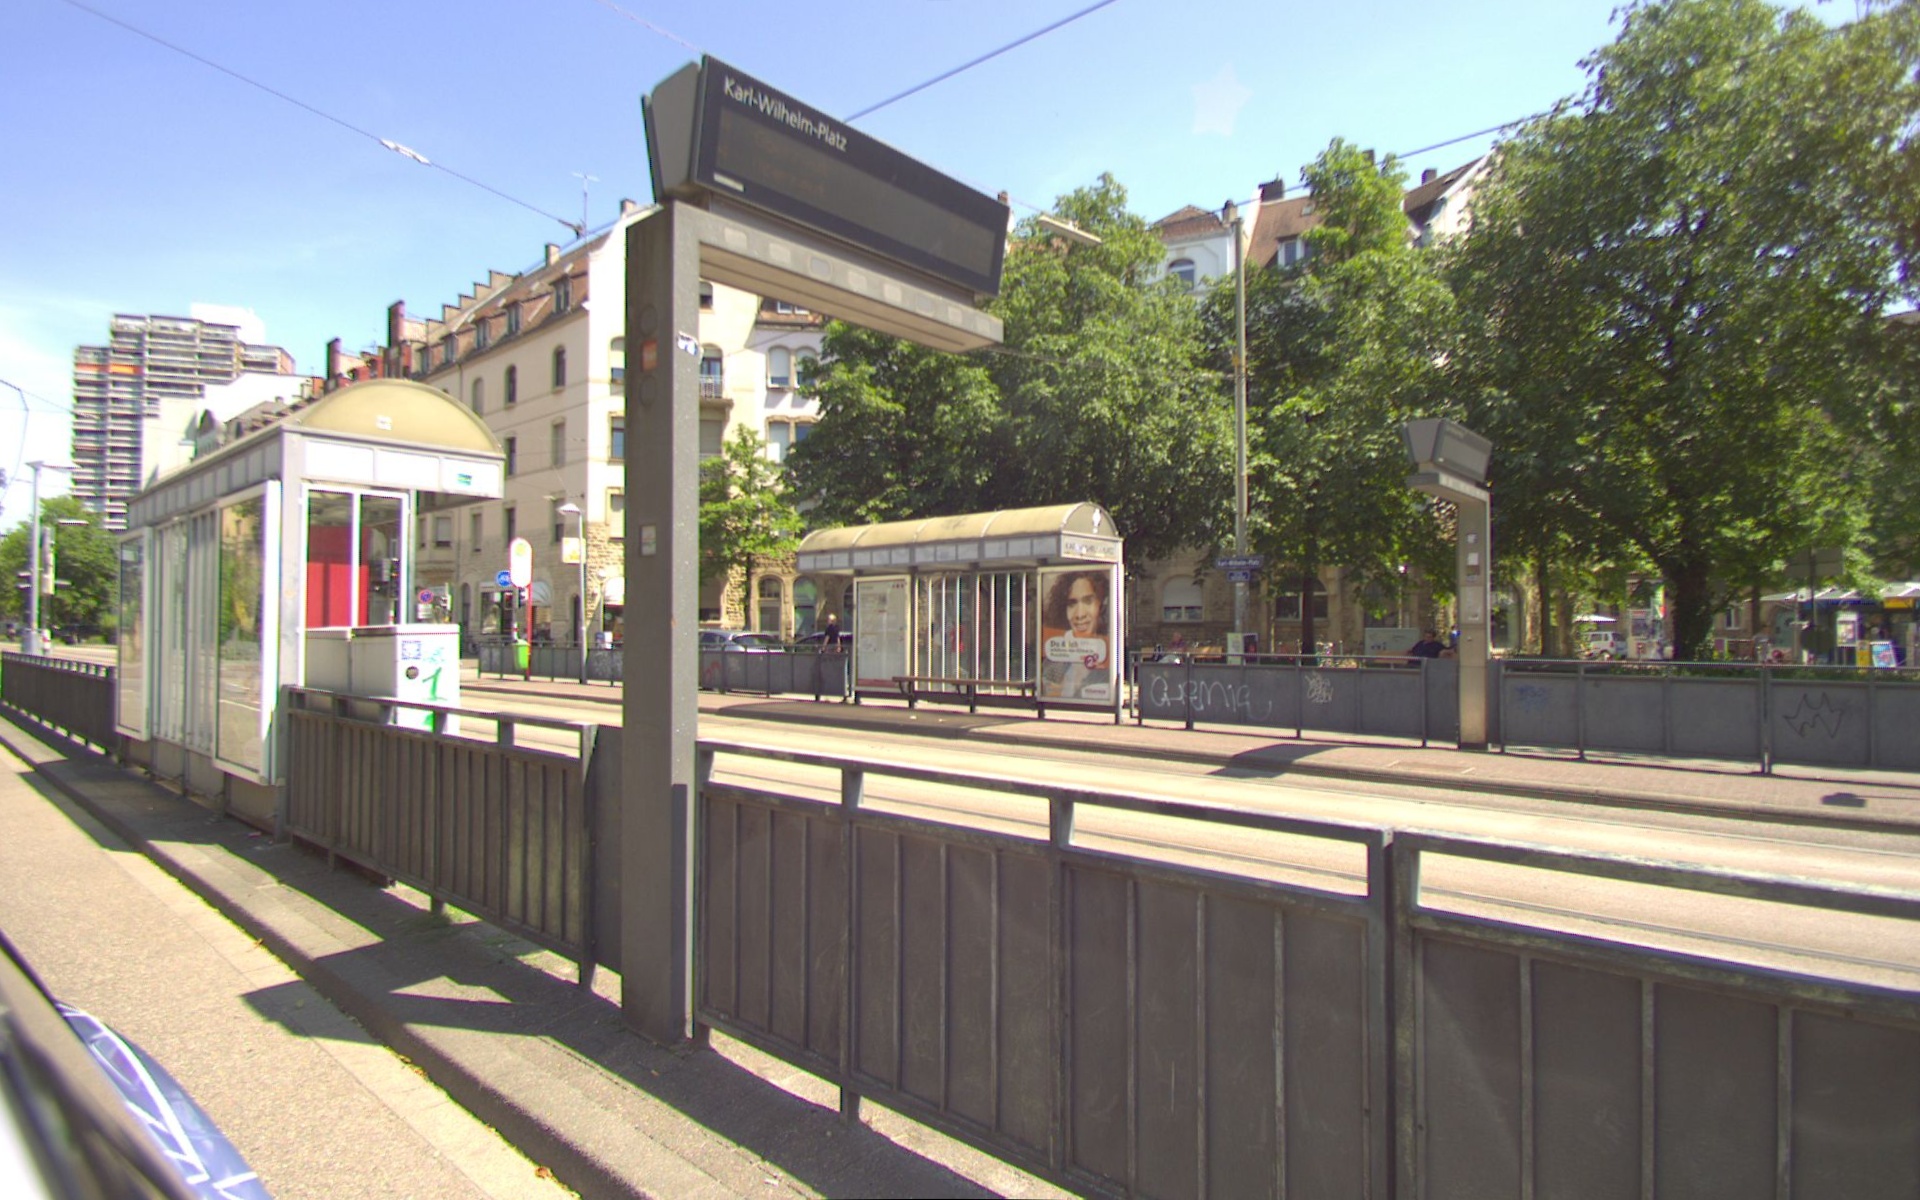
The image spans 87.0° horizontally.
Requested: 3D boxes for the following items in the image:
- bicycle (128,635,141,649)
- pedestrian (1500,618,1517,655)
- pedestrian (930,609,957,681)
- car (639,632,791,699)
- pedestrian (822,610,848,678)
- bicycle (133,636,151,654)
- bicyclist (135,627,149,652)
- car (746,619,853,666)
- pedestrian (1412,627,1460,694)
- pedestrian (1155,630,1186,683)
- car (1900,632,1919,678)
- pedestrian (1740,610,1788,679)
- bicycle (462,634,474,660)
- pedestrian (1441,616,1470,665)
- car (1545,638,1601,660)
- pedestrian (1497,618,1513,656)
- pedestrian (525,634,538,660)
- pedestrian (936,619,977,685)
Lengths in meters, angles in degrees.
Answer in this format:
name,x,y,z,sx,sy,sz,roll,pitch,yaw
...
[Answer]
name,x,y,z,sx,sy,sz,roll,pitch,yaw
bicycle,-65.638,3.370,80.485,2.046,1.105,0.487,-2,-2,42
pedestrian,24.597,1.644,45.420,0.560,1.635,0.507,-1,-1,41
pedestrian,-0.441,1.178,26.938,0.504,1.893,0.494,1,-2,-44
car,-5.686,1.445,23.269,3.716,1.349,1.525,-1,-1,40
pedestrian,-3.427,1.194,27.724,0.494,1.836,0.505,-1,-2,43
bicycle,-53.759,2.941,66.519,1.977,1.166,0.621,-2,-2,42
bicyclist,-53.755,2.589,66.515,0.585,1.586,0.602,-1,-1,41
car,-5.625,1.457,35.345,3.527,1.587,1.587,0,-1,-15
pedestrian,9.415,1.187,20.027,0.637,1.297,0.618,0,-1,2
pedestrian,5.057,1.354,24.343,0.637,1.265,0.549,0,-1,2
car,32.227,1.760,32.573,3.676,1.453,1.546,0,-1,-24
pedestrian,24.316,1.339,30.613,0.704,2.029,0.816,0,-2,-10
bicycle,-24.209,2.282,49.785,0.447,1.234,2.086,0,-1,-29
pedestrian,18.197,1.478,37.149,0.606,1.764,0.719,0,-1,-25
car,26.555,2.116,43.849,1.899,0.872,0.856,0,-1,17
pedestrian,24.240,1.638,45.011,0.526,1.635,0.491,-1,-1,41
pedestrian,-19.395,2.135,45.822,0.405,1.157,0.401,-1,-1,38
pedestrian,-0.085,1.272,25.167,0.772,1.618,0.673,-1,-1,38
